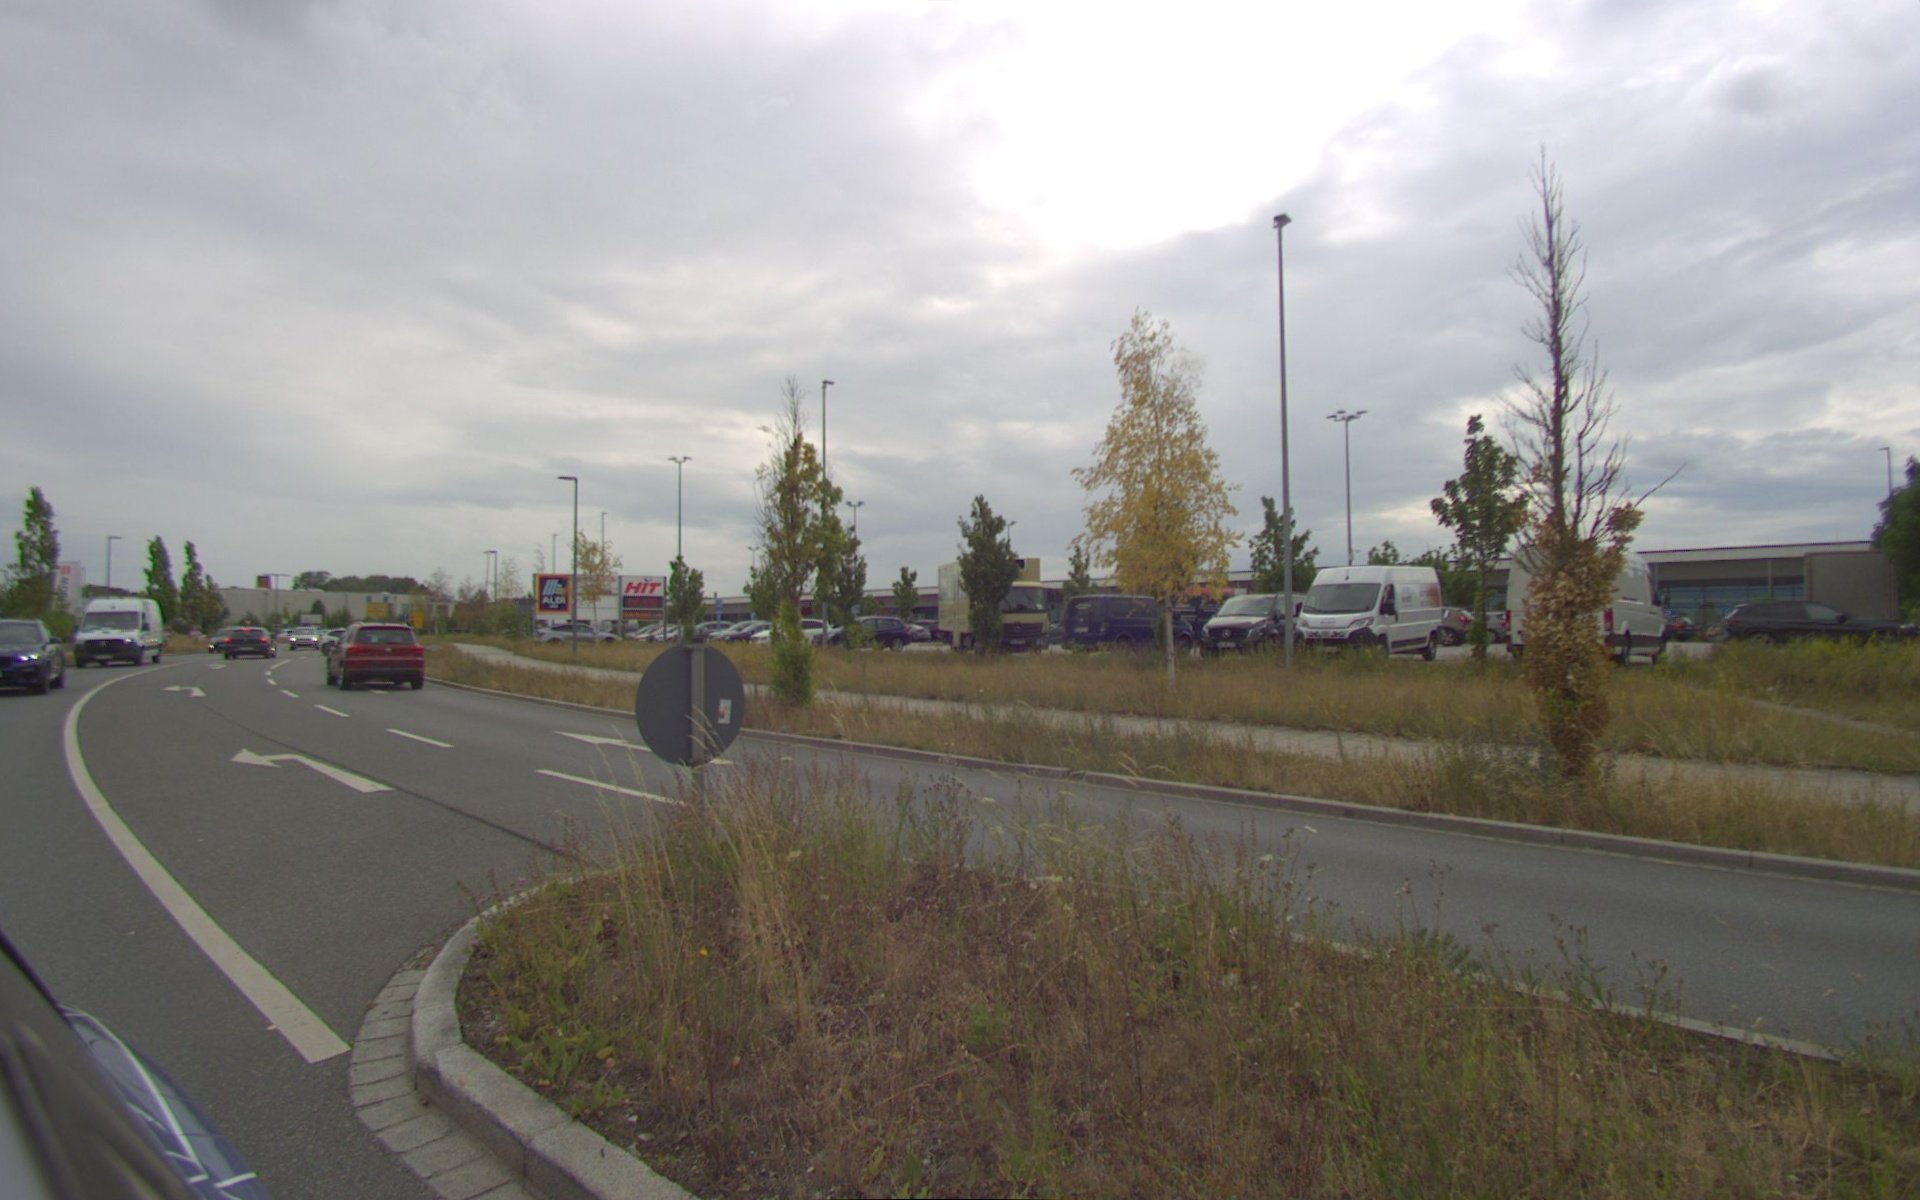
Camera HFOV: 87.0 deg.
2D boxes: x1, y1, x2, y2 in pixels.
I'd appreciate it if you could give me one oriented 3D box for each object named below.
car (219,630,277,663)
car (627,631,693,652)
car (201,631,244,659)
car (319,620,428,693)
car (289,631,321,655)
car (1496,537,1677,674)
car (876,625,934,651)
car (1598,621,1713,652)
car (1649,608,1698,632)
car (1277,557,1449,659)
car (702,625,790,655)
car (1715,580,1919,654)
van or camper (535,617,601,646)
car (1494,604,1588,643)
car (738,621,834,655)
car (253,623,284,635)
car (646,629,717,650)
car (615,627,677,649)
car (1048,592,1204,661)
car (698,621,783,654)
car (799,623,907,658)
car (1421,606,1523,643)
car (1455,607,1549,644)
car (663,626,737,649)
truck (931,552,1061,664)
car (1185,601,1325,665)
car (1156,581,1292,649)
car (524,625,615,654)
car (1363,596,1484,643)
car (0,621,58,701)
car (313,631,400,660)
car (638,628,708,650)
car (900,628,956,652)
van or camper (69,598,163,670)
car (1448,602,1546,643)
[{"bbox_3d":[-32.746,2.135,46.669,1.804,1.431,4.258,1,-2,-30],"label":"car"},{"bbox_3d":[-21.972,3.026,74.160,4.258,1.468,2.017,1,-3,-30],"label":"car"},{"bbox_3d":[-44.182,2.693,60.574,1.730,1.597,4.006,1,-2,-41],"label":"car"},{"bbox_3d":[-15.107,1.440,25.963,1.775,1.682,4.335,4,-5,-38],"label":"car"},{"bbox_3d":[-42.290,2.781,65.332,1.679,1.449,4.043,1,-3,-33],"label":"car"},{"bbox_3d":[13.998,0.186,22.395,2.243,2.618,6.338,-2,-2,42],"label":"car"},{"bbox_3d":[-3.998,2.752,73.002,4.001,1.830,1.971,-2,-3,44],"label":"car"},{"bbox_3d":[38.489,2.002,56.048,5.054,1.663,1.973,-2,-3,41],"label":"car"},{"bbox_3d":[50.117,1.443,71.073,3.939,1.619,2.002,2,-3,-43],"label":"car"},{"bbox_3d":[10.464,0.263,25.975,2.209,2.324,6.004,-2,-2,41],"label":"car"},{"bbox_3d":[-11.442,2.117,54.129,4.183,1.525,2.052,0,-2,-28],"label":"car"},{"bbox_3d":[25.544,0.559,30.271,4.635,2.048,1.973,-2,-3,40],"label":"car"},{"bbox_3d":[-39.461,3.206,101.970,5.776,2.821,2.248,2,-2,-38],"label":"van or camper"},{"bbox_3d":[31.894,1.307,55.654,1.967,2.029,4.010,1,-3,-35],"label":"car"},{"bbox_3d":[-8.531,1.864,49.694,4.192,1.571,1.993,2,-3,-38],"label":"car"},{"bbox_3d":[-111.869,4.684,163.782,1.632,2.029,3.970,-1,-2,22],"label":"car"},{"bbox_3d":[-18.914,2.685,68.660,4.253,1.350,2.033,1,-3,-32],"label":"car"},{"bbox_3d":[-24.377,2.964,78.606,4.241,1.667,2.086,1,-3,-31],"label":"car"},{"bbox_3d":[5.225,0.835,31.540,4.840,2.005,2.182,1,-2,-40],"label":"car"},{"bbox_3d":[-12.297,2.074,56.730,4.184,1.736,2.034,1,-2,-33],"label":"car"},{"bbox_3d":[-4.551,1.730,43.204,4.175,1.446,2.003,1,-3,-35],"label":"car"},{"bbox_3d":[24.253,1.175,47.980,3.993,1.684,1.975,-1,-2,37],"label":"car"},{"bbox_3d":[29.126,1.354,54.418,1.969,1.912,4.005,1,-2,-42],"label":"car"},{"bbox_3d":[-16.771,2.408,65.279,4.296,1.402,2.172,1,-3,-27],"label":"car"},{"bbox_3d":[1.043,0.368,36.428,2.812,3.568,8.448,0,-2,-11],"label":"truck"},{"bbox_3d":[8.307,0.908,28.187,1.993,1.629,4.853,-2,-2,39],"label":"car"},{"bbox_3d":[11.075,0.696,42.623,5.135,2.711,2.040,-2,-3,36],"label":"car"},{"bbox_3d":[-21.749,2.192,56.419,4.533,1.573,2.006,1,-3,-27],"label":"car"},{"bbox_3d":[19.414,0.852,42.459,4.260,1.863,1.975,-1,-2,37],"label":"car"},{"bbox_3d":[-21.611,1.346,22.543,1.968,1.677,4.008,0,-2,-38],"label":"car"},{"bbox_3d":[-32.327,2.420,54.206,4.165,1.480,1.872,-1,-2,23],"label":"car"},{"bbox_3d":[-20.223,2.720,71.318,4.304,1.517,2.246,1,-3,-28],"label":"car"},{"bbox_3d":[-2.409,2.969,75.138,4.000,1.700,1.885,-2,-3,43],"label":"car"},{"bbox_3d":[-33.139,1.353,39.909,2.228,2.637,5.711,1,-3,-34],"label":"van or camper"},{"bbox_3d":[27.690,1.172,52.274,1.969,2.029,4.005,1,-2,-42],"label":"car"}]
